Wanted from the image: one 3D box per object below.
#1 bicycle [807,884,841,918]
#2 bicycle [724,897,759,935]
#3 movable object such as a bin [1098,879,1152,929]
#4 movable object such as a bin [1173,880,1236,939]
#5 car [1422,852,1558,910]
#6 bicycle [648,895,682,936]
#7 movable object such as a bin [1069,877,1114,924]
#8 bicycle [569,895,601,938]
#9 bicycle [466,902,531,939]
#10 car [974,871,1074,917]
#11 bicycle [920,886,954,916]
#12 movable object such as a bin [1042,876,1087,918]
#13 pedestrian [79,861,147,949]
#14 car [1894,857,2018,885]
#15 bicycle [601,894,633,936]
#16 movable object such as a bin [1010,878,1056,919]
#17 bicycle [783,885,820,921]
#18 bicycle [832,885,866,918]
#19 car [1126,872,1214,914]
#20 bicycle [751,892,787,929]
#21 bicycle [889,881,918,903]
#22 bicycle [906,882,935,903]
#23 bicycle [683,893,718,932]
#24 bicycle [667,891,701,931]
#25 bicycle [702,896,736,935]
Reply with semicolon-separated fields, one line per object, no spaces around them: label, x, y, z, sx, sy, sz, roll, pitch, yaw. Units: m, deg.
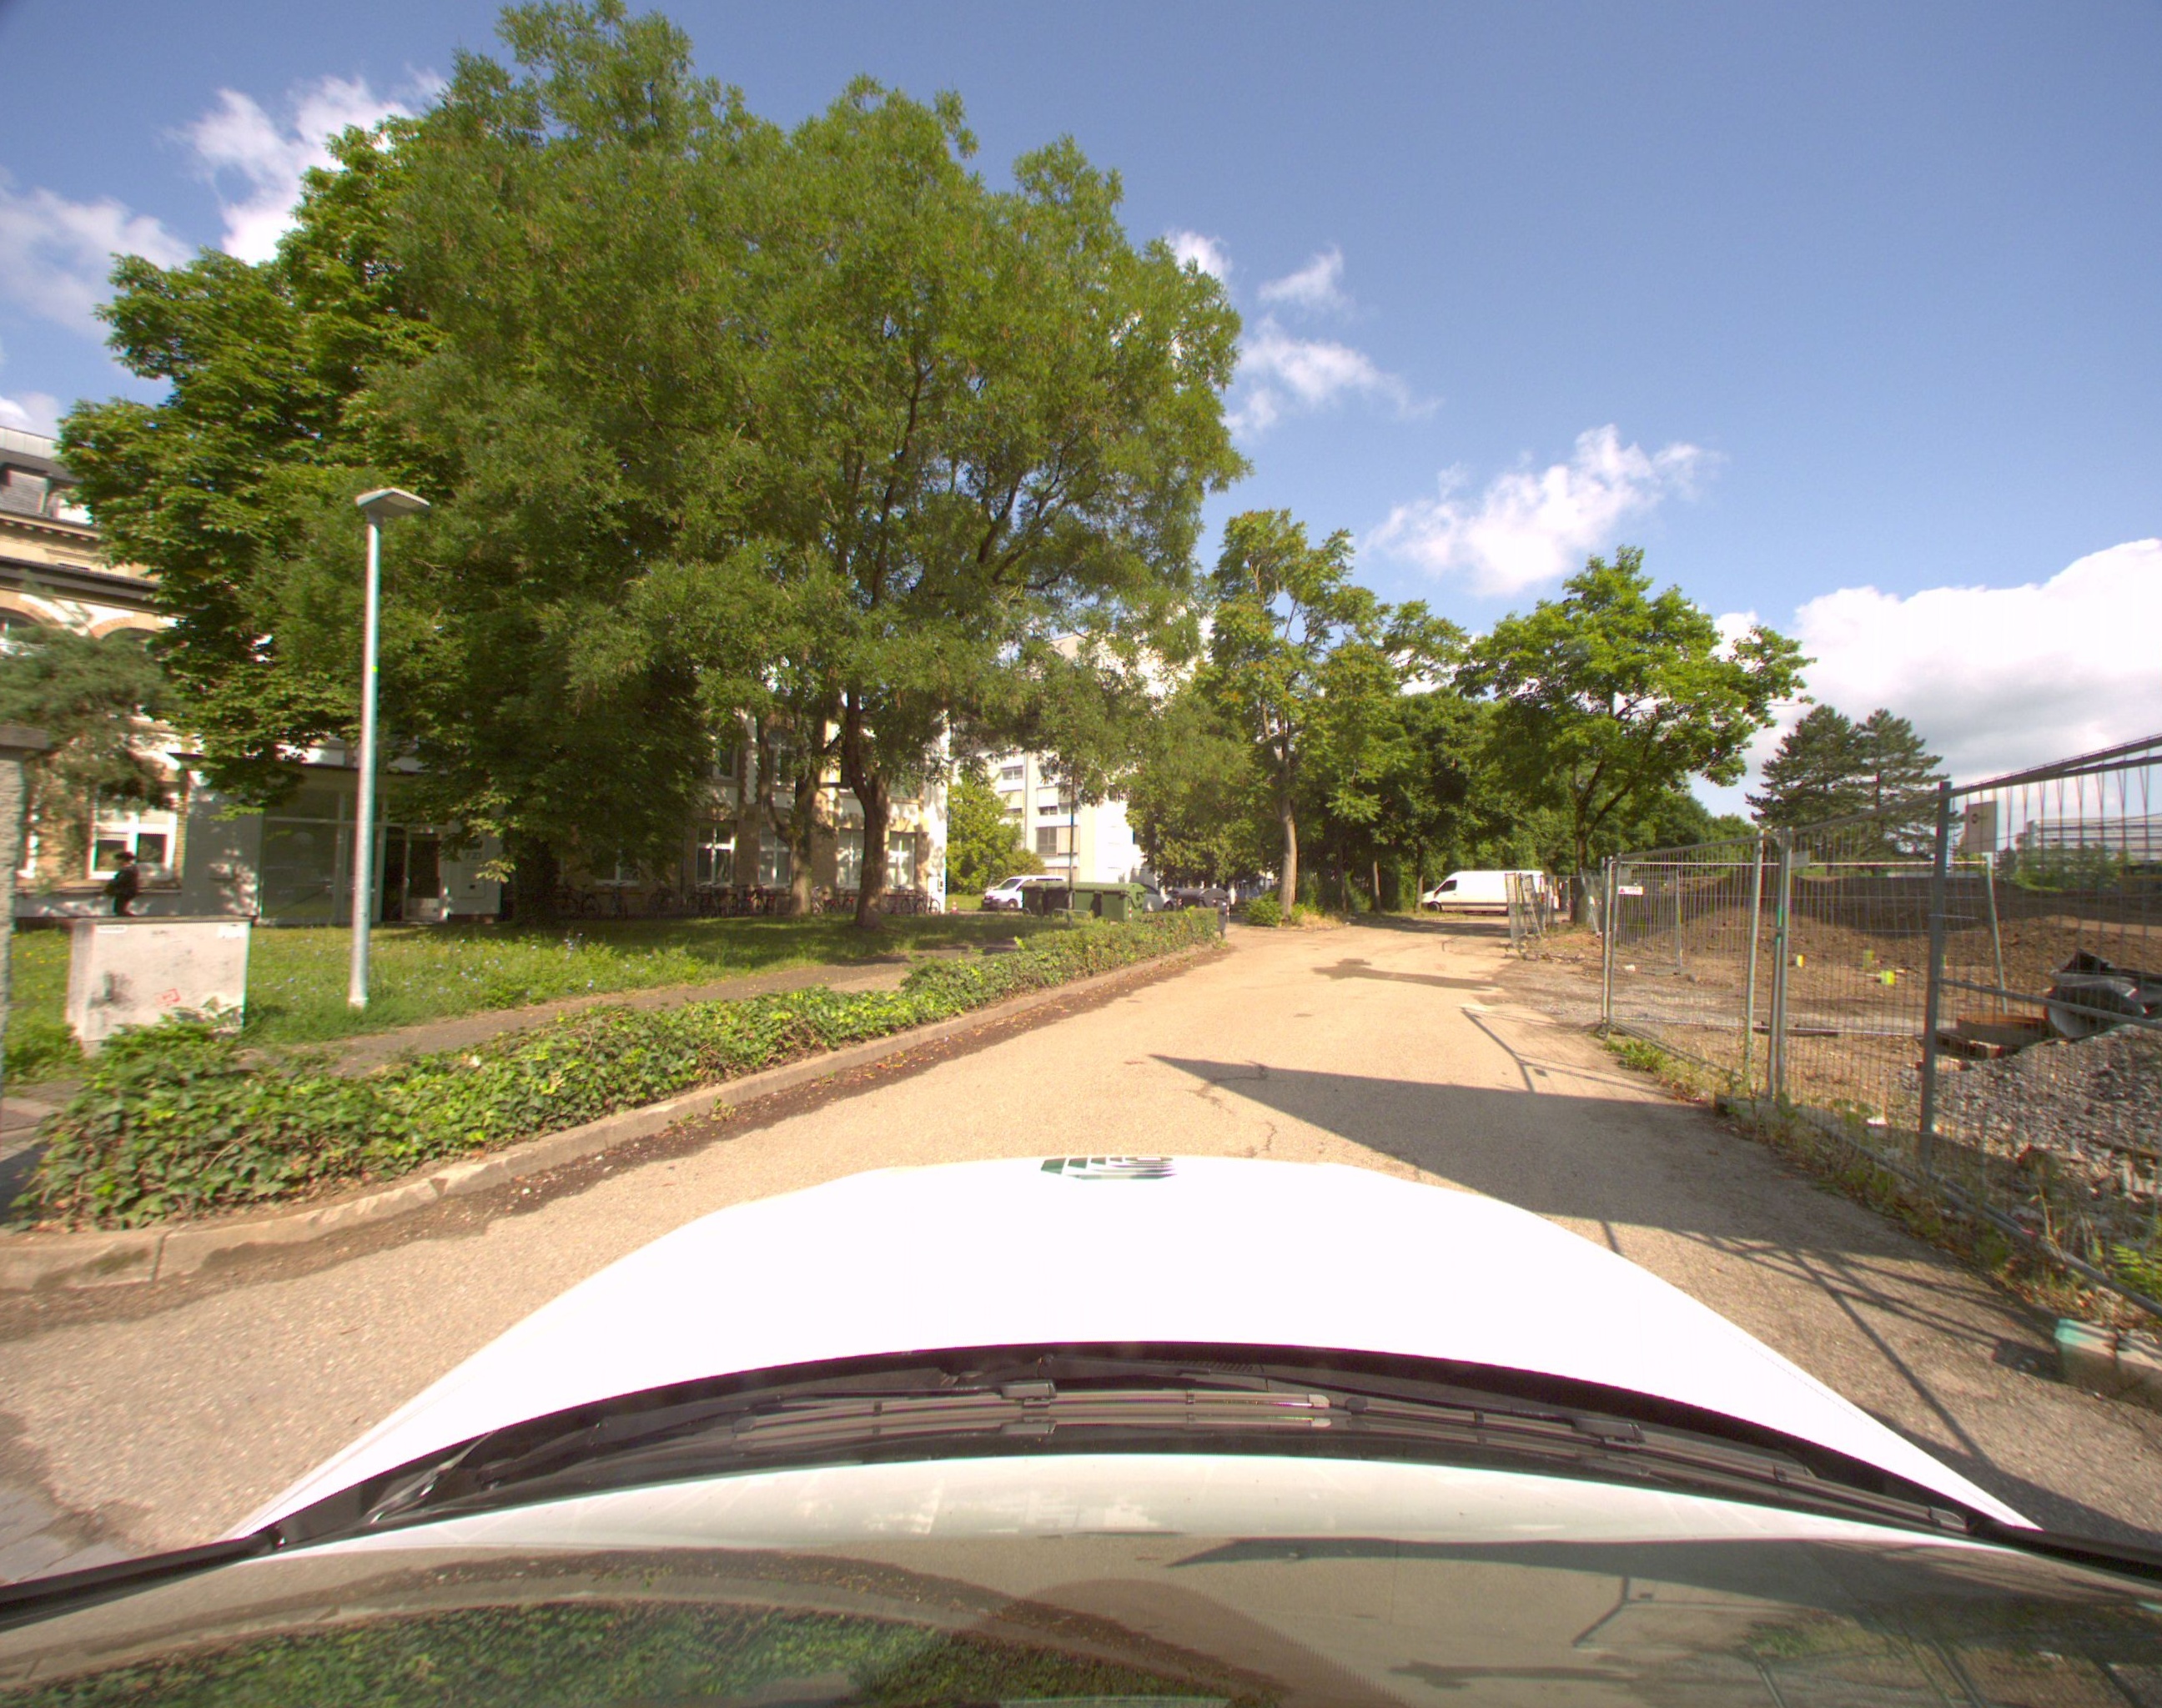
bicycle;-8.998;1.637;28.496;0.422;1.056;2.043;-1;1;-39
bicycle;-11.082;2.004;26.553;0.422;1.056;2.043;-6;4;-39
movable object such as a bin;1.420;1.577;26.200;1.326;1.451;1.110;1;1;41
movable object such as a bin;3.511;1.554;23.169;1.251;1.481;1.287;0;4;-23
car;23.731;1.480;47.428;6.886;3.046;2.013;1;3;31
bicycle;-12.717;1.846;24.857;0.422;1.056;2.043;-6;4;-39
movable object such as a bin;0.360;1.540;27.145;1.218;1.451;0.886;1;1;41
bicycle;-14.371;1.777;23.574;0.422;1.056;2.043;-6;4;-39
bicycle;-16.314;1.850;22.823;1.401;0.820;0.415;-6;4;-41
car;-2.943;2.038;42.749;4.983;1.964;1.976;-4;1;-41
bicycle;-5.543;1.786;31.282;0.322;1.037;1.837;-1;1;-44
movable object such as a bin;-0.557;1.457;28.144;1.218;1.349;0.952;1;1;41
pedestrian;-19.508;1.003;16.434;0.777;1.677;0.799;-1;1;-44
car;50.637;0.953;47.236;1.855;1.428;4.811;-1;2;-41
bicycle;-13.826;1.799;24.231;0.422;1.056;2.043;-6;4;-39
movable object such as a bin;-1.706;1.581;29.094;1.364;1.349;0.952;1;1;41
bicycle;-9.585;1.652;27.887;0.422;1.056;2.043;-6;4;-39
bicycle;-8.295;1.681;29.070;0.422;1.056;2.043;-1;1;-39
car;3.988;1.687;36.174;3.940;1.419;1.737;-5;3;-43
bicycle;-10.364;1.854;27.043;0.422;1.056;2.043;-6;4;-39
bicycle;-6.650;1.404;30.396;0.321;0.705;1.839;-1;1;-36
bicycle;-6.084;1.439;30.851;0.321;0.705;1.839;-1;1;-36
bicycle;-11.953;1.817;25.547;0.422;1.056;2.043;-6;4;-39
bicycle;-12.326;1.737;25.270;0.422;1.056;2.043;-6;4;-39
bicycle;-11.619;1.939;26.106;0.422;1.056;2.043;-6;4;-39
